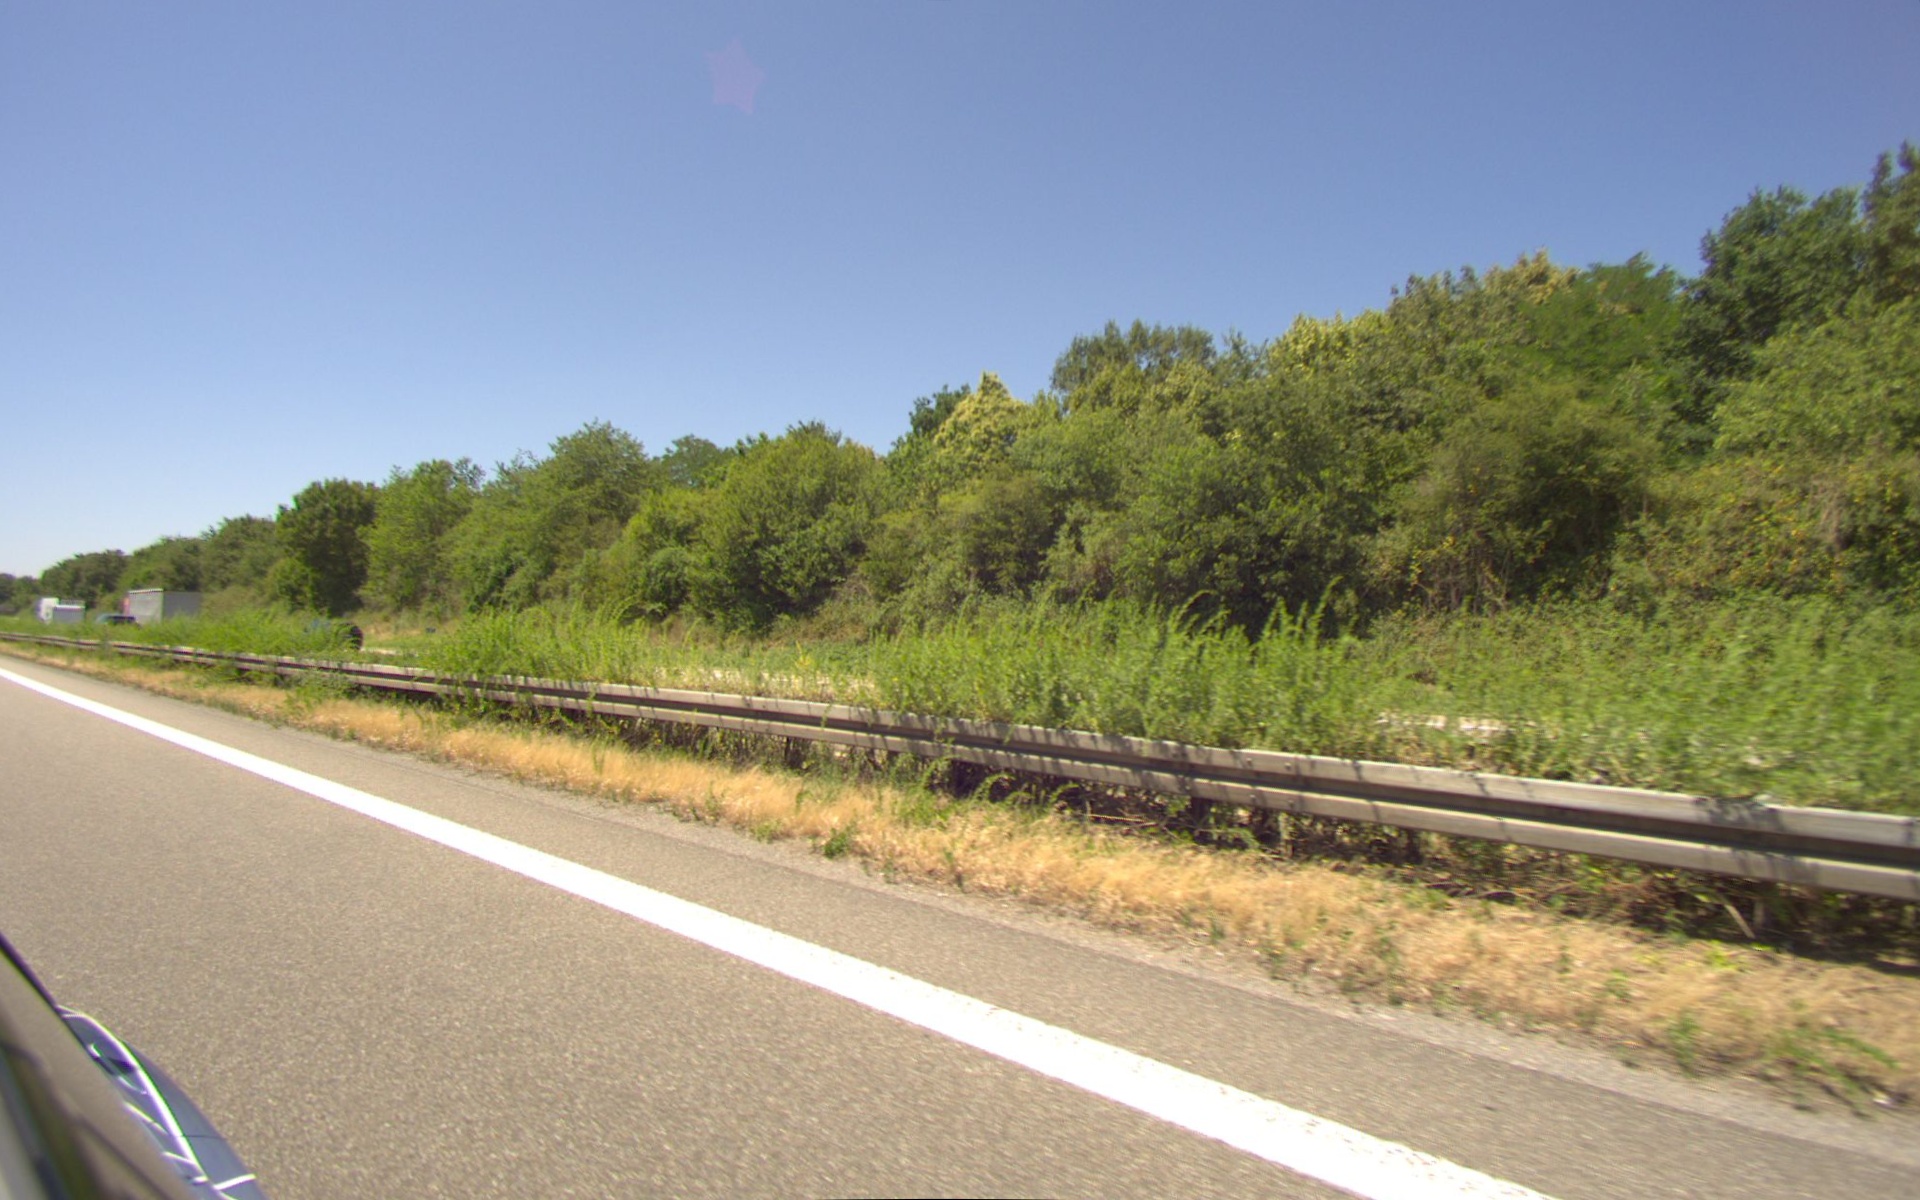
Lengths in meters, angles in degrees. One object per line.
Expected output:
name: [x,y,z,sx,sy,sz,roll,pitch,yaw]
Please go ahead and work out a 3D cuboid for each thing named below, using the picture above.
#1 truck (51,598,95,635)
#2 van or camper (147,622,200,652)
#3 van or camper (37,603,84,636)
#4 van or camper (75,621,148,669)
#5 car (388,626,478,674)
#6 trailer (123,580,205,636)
truck: [-104.061,1.919,118.699,5.942,4.180,3.160,-1,0,42]
van or camper: [-54.725,2.546,70.401,5.246,2.029,1.972,-1,-2,42]
van or camper: [-84.693,1.804,95.219,7.859,2.989,2.584,-1,1,43]
van or camper: [-49.203,2.530,58.614,6.454,2.646,2.100,-1,-2,40]
car: [-21.394,1.973,41.030,4.000,1.730,1.972,-1,1,43]
trailer: [-66.815,0.665,84.714,14.478,4.280,3.110,-1,1,43]
